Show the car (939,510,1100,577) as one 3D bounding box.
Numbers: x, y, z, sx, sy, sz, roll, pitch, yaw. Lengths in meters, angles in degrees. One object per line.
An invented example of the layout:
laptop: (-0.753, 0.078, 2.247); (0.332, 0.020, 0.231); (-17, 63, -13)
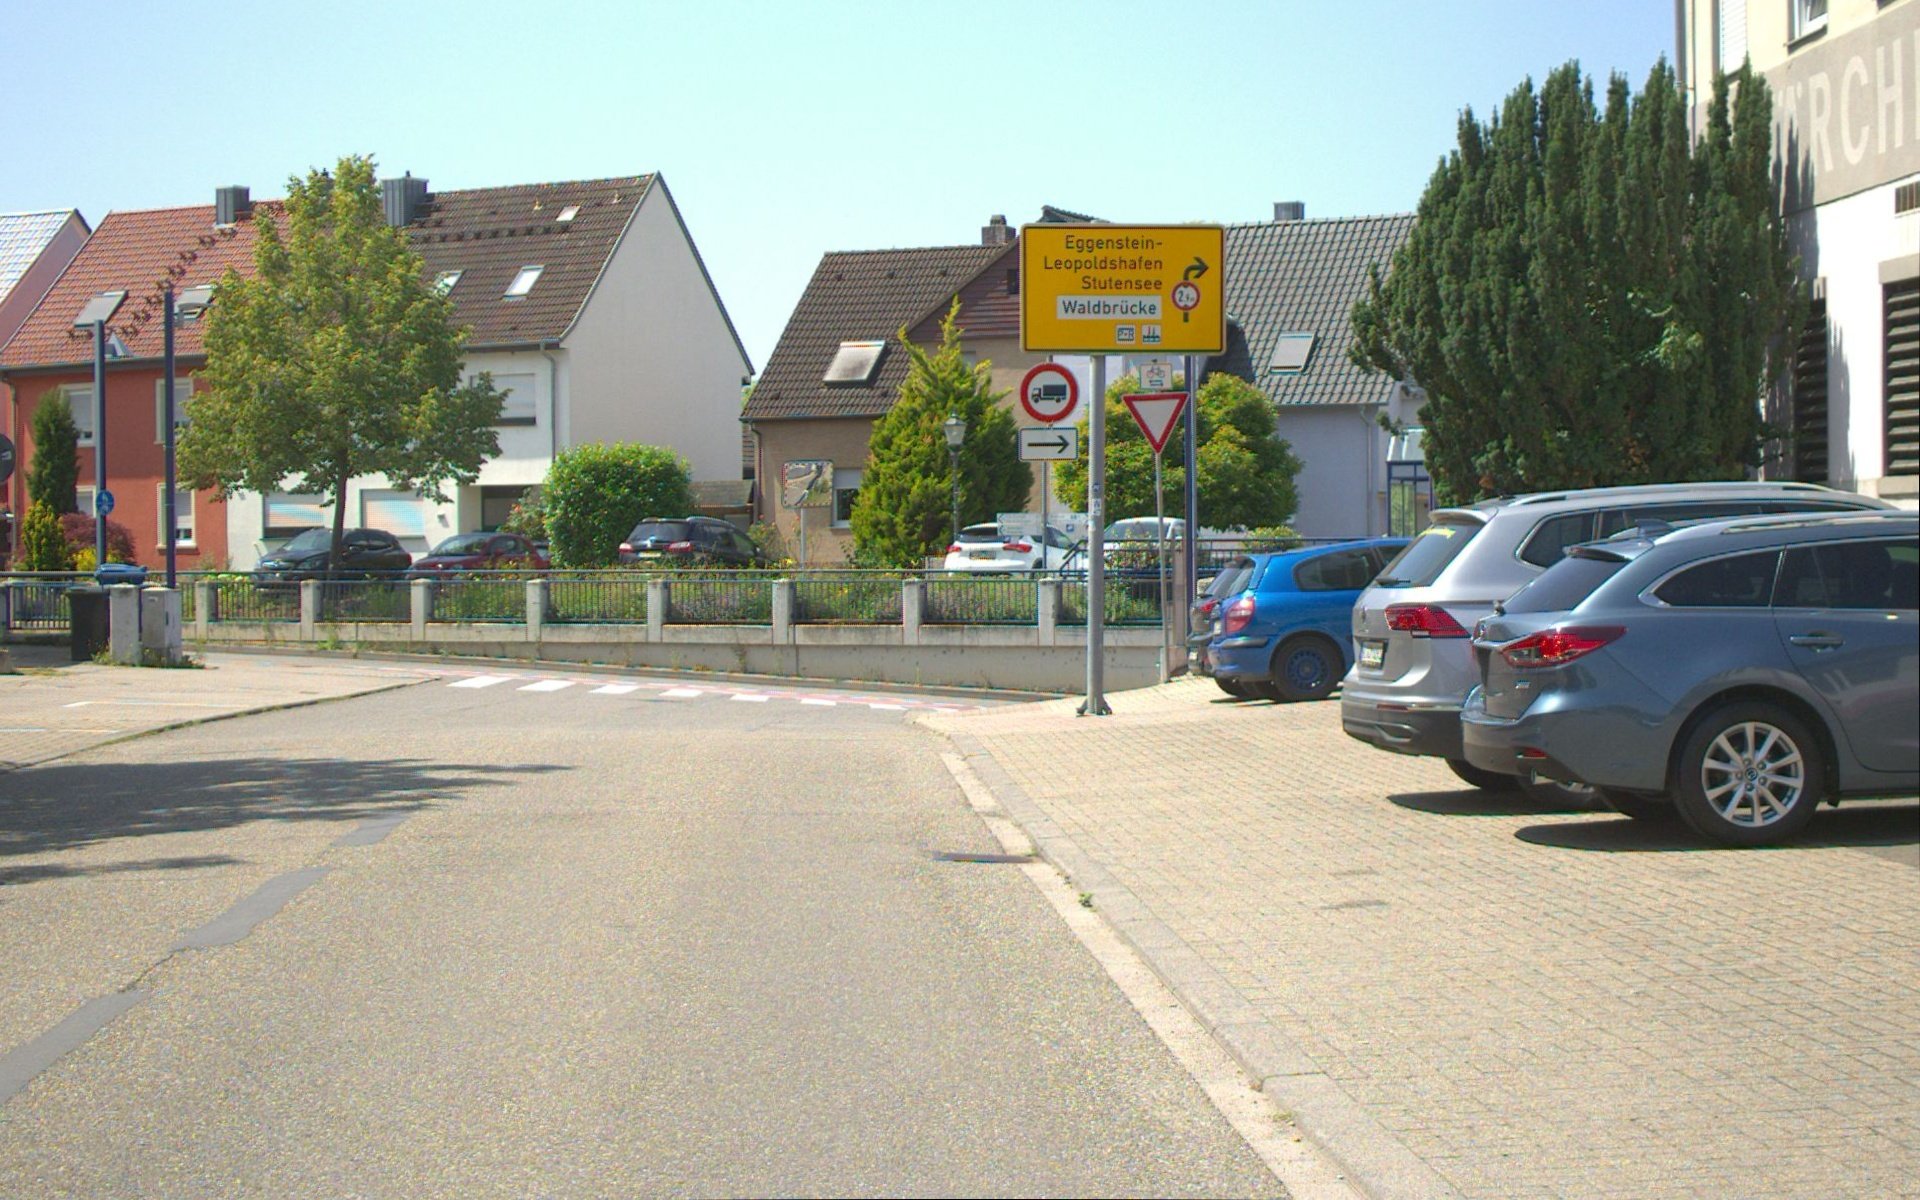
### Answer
car: (1.165, -1.061, 65.408); (1.827, 1.016, 3.455); (4, 0, 23)

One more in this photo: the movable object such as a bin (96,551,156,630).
movable object such as a bin: (-13.001, -0.157, 53.583); (0.839, 1.209, 1.277); (1, 0, -16)

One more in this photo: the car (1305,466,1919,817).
car: (4.282, 0.163, 18.670); (4.452, 1.691, 1.923); (-2, 1, -5)

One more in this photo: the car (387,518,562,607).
car: (-9.911, -0.751, 70.403); (1.870, 1.581, 3.605); (4, 0, 23)

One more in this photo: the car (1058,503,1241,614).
car: (3.594, -0.752, 64.369); (1.996, 1.791, 4.191); (4, 0, 23)

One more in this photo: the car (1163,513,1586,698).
car: (4.218, 0.060, 35.361); (3.894, 1.485, 1.810); (-6, 0, -5)

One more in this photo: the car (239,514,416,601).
car: (-13.259, -0.873, 72.254); (1.870, 1.581, 3.605); (4, 0, 23)

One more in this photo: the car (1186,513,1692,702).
car: (4.418, 0.093, 32.099); (4.322, 1.435, 1.780); (-4, -2, -4)

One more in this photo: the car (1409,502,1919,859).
car: (4.592, 0.291, 16.411); (4.500, 1.514, 2.000); (-2, 1, -4)

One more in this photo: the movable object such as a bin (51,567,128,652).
movable object such as a bin: (-12.712, 0.132, 50.228); (0.885, 1.221, 0.902); (1, 0, -1)

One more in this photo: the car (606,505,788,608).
car: (-5.211, -0.843, 68.647); (1.870, 1.791, 3.995); (4, 0, 23)
